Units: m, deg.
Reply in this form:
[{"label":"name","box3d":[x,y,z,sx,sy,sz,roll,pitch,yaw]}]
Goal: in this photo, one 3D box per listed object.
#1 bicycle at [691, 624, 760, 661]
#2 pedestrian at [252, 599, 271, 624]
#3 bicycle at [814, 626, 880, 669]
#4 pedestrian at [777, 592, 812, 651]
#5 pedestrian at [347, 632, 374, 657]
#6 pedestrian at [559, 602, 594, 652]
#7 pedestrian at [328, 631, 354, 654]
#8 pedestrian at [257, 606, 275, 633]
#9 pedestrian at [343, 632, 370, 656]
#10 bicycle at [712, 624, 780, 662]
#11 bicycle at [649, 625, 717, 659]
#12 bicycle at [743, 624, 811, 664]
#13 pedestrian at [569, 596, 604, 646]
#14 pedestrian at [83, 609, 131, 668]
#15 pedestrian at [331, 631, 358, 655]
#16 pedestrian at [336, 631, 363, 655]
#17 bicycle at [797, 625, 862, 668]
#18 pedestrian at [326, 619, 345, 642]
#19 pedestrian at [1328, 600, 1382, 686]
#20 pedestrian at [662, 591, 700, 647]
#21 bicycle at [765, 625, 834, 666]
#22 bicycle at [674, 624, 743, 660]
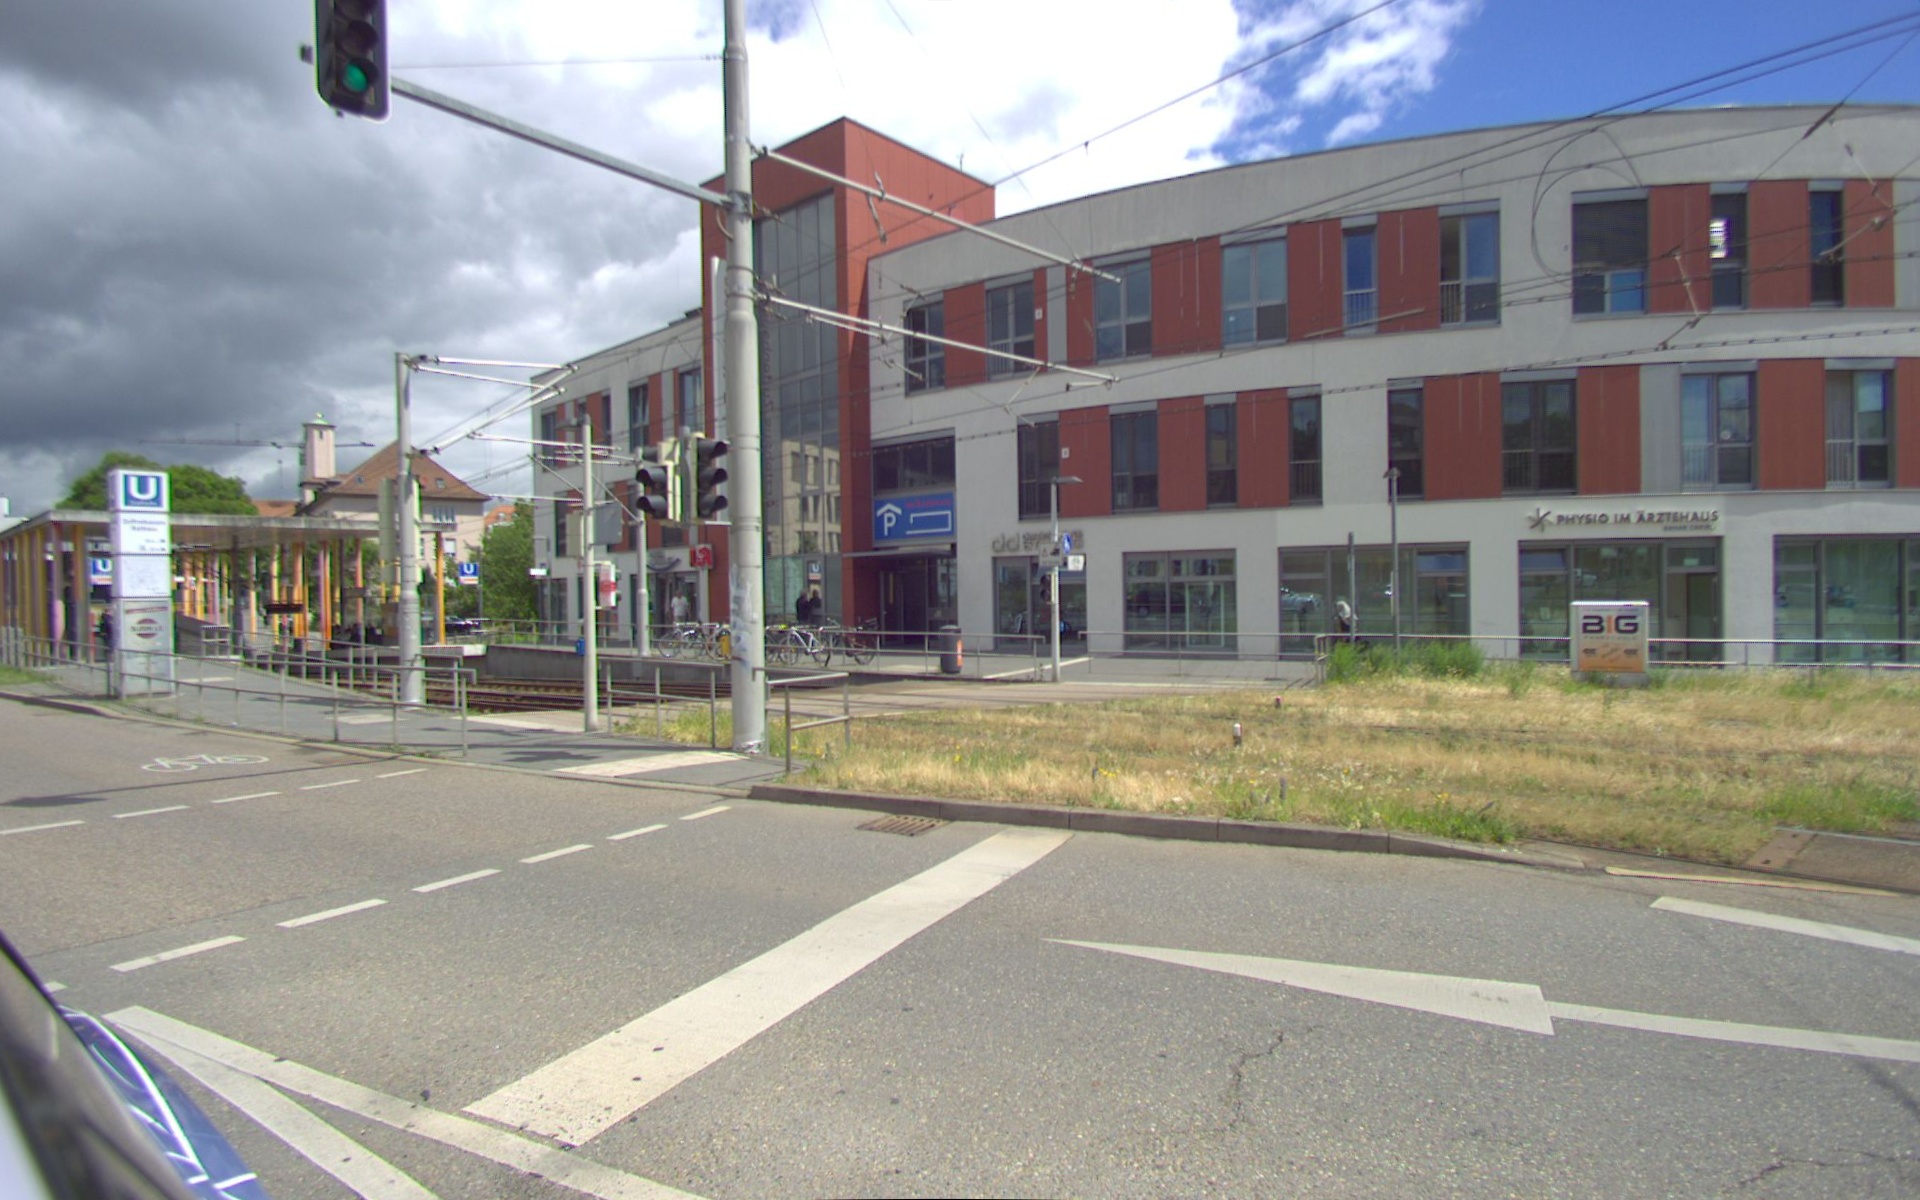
[{"label":"bicycle","box3d":[-6.367,1.151,27.586,1.835,0.929,0.455,0,0,-42]},{"label":"pedestrian","box3d":[-58.785,0.975,85.174,1.112,2.029,1.180,0,-1,-44]},{"label":"bicycle","box3d":[-2.734,1.138,24.673,0.428,0.959,1.716,-1,0,43]},{"label":"pedestrian","box3d":[-5.309,0.664,32.483,0.856,1.859,0.876,0,1,13]},{"label":"pedestrian","box3d":[-28.761,2.131,48.557,0.886,1.143,0.931,-2,-1,42]},{"label":"pedestrian","box3d":[-15.191,1.059,40.132,1.105,1.983,0.853,0,-1,39]},{"label":"pedestrian","box3d":[-31.454,2.154,51.441,0.886,1.143,0.931,-2,-1,42]},{"label":"pedestrian","box3d":[-53.286,1.506,77.689,1.110,2.029,1.461,0,-1,-36]},{"label":"pedestrian","box3d":[-29.393,2.131,49.271,0.886,1.143,0.931,-2,-1,42]},{"label":"bicycle","box3d":[-5.695,1.138,26.987,1.836,0.946,0.455,0,0,-45]},{"label":"bicycle","box3d":[-7.873,1.190,28.833,1.834,0.888,0.455,0,0,-41]},{"label":"bicycle","box3d":[-4.736,1.127,26.338,0.454,0.970,1.837,-1,0,43]},{"label":"pedestrian","box3d":[-14.913,0.829,40.440,1.105,1.983,0.853,0,-1,39]},{"label":"pedestrian","box3d":[-28.265,1.261,33.541,0.864,1.929,1.090,0,-1,42]},{"label":"pedestrian","box3d":[-30.800,2.137,50.625,0.886,1.143,0.931,-2,-1,42]},{"label":"pedestrian","box3d":[-30.110,2.133,49.907,0.886,1.143,0.931,-2,-1,42]},{"label":"bicycle","box3d":[-3.222,1.137,25.076,0.428,0.965,1.716,-1,0,43]},{"label":"pedestrian","box3d":[-41.365,2.022,67.043,0.900,1.461,0.737,-1,-1,32]},{"label":"pedestrian","box3d":[9.289,0.993,23.824,1.106,1.983,0.860,0,-1,17]},{"label":"pedestrian","box3d":[-10.034,0.667,36.353,1.106,1.983,0.852,0,-1,43]},{"label":"bicycle","box3d":[-4.053,1.138,25.703,0.454,0.942,1.837,-1,0,43]},{"label":"bicycle","box3d":[-6.980,1.154,28.145,1.835,0.939,0.455,0,0,-41]}]
